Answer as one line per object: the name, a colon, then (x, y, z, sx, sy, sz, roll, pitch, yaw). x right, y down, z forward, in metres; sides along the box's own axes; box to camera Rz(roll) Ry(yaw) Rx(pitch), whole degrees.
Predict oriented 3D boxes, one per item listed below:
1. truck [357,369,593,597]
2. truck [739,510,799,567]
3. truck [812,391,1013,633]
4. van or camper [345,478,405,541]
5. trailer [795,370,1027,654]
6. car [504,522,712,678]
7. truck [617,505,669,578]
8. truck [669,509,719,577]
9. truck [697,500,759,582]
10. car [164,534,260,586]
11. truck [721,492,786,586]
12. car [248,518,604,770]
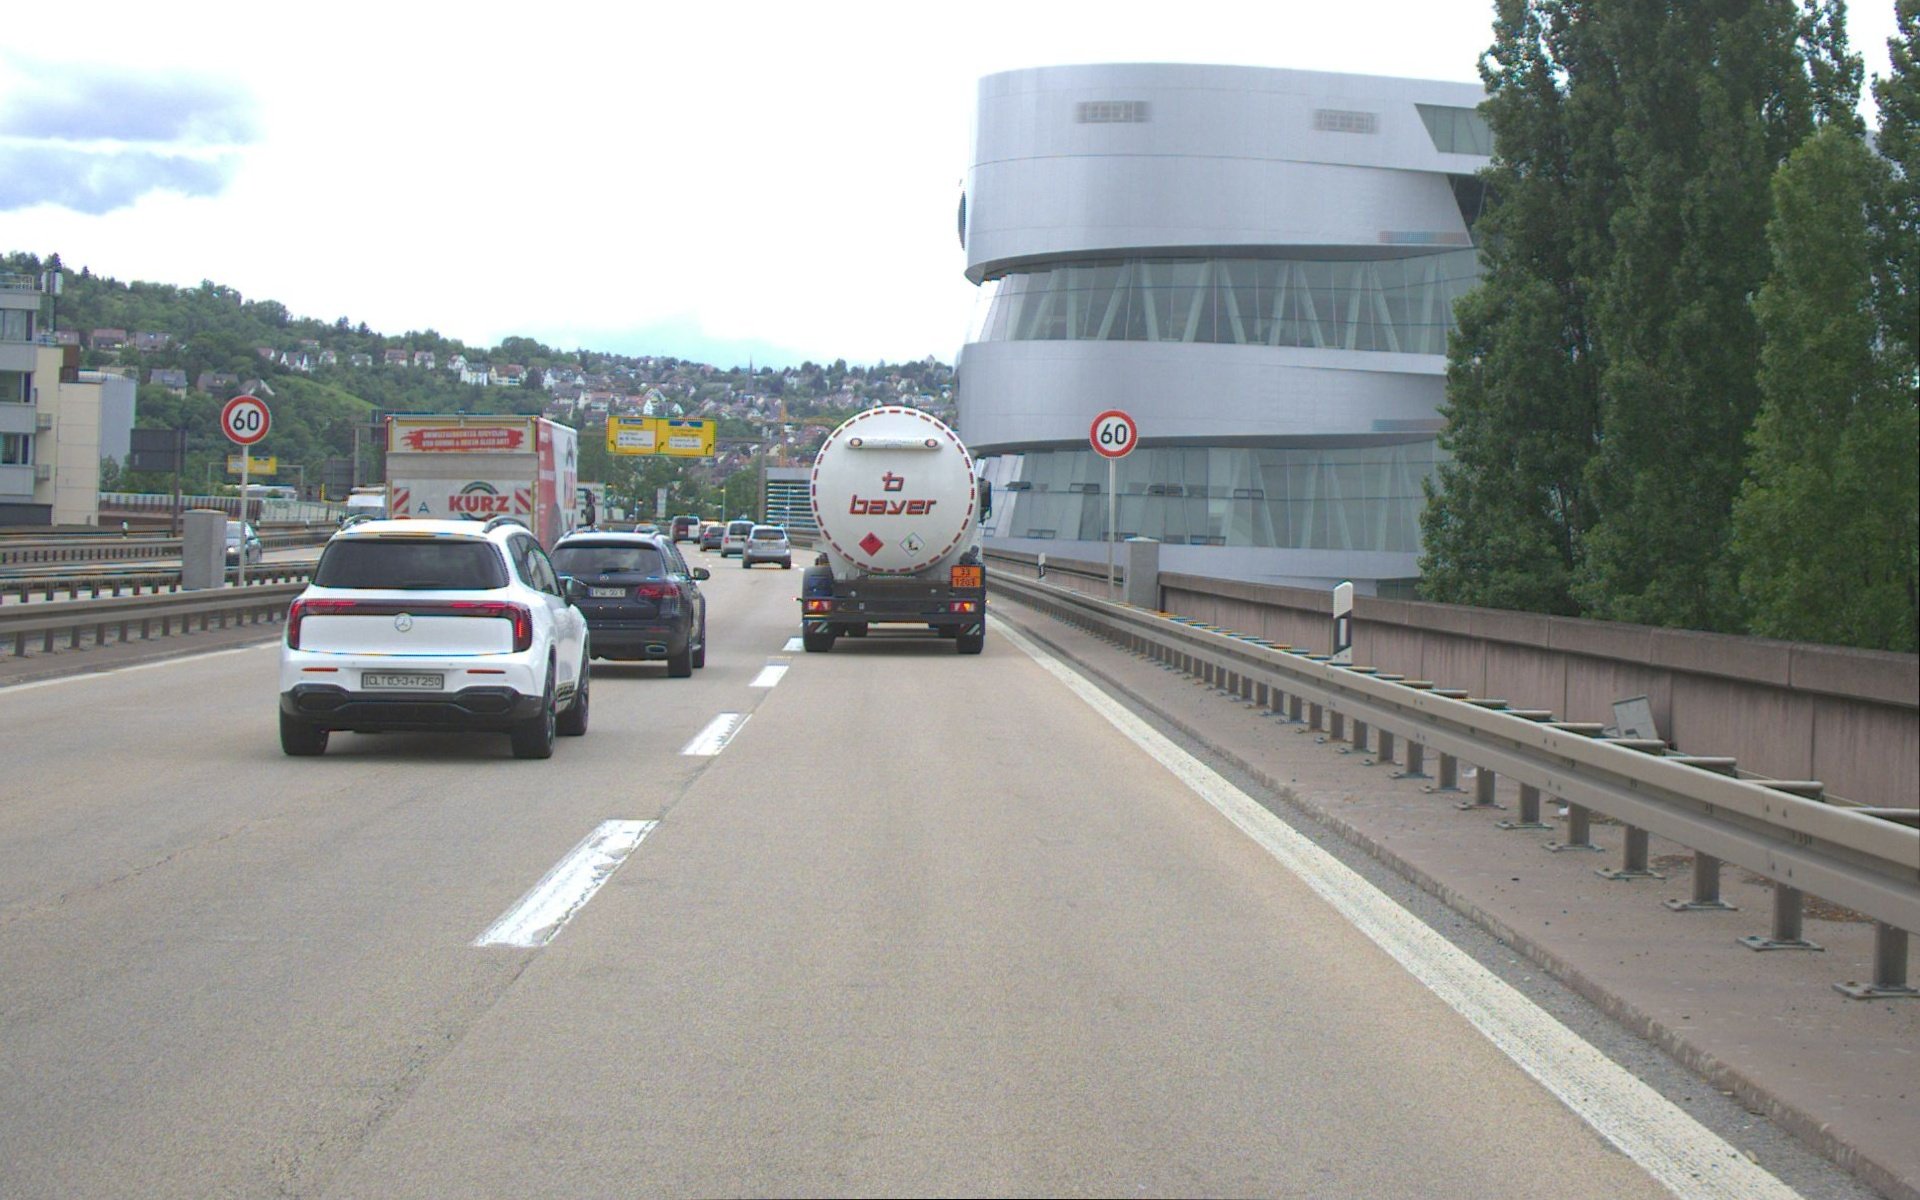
truck: (-8.383, -1.961, 60.416, 3.057, 3.678, 8.304, 1, 1, -1)
truck: (-7.530, -2.421, 135.789, 2.255, 2.156, 5.069, 1, 1, -2)
truck: (-0.810, -1.376, 55.569, 3.014, 3.644, 6.274, 1, 1, -1)
van or camper: (-28.741, -4.430, 169.055, 2.171, 2.998, 7.119, 1, 1, -4)
trailer: (-0.739, -1.234, 50.429, 3.057, 3.777, 8.304, 1, 1, -1)
car: (-3.982, -0.022, 39.559, 1.993, 1.669, 4.408, 1, 1, -1)
truck: (-20.271, -3.735, 219.676, 3.056, 4.546, 8.305, 1, 1, -7)
truck: (-18.369, -3.883, 236.650, 3.056, 4.546, 8.305, 1, 1, -7)
truck: (-13.274, -3.362, 196.212, 3.056, 4.546, 8.305, 1, 1, -7)
car: (-21.055, -1.135, 96.906, 1.786, 1.372, 4.230, 2, 1, -1)
truck: (-10.334, -3.054, 172.383, 3.056, 4.546, 8.305, 1, 1, -3)
car: (-3.824, 0.275, 25.350, 1.993, 1.669, 4.408, 1, 1, -1)
